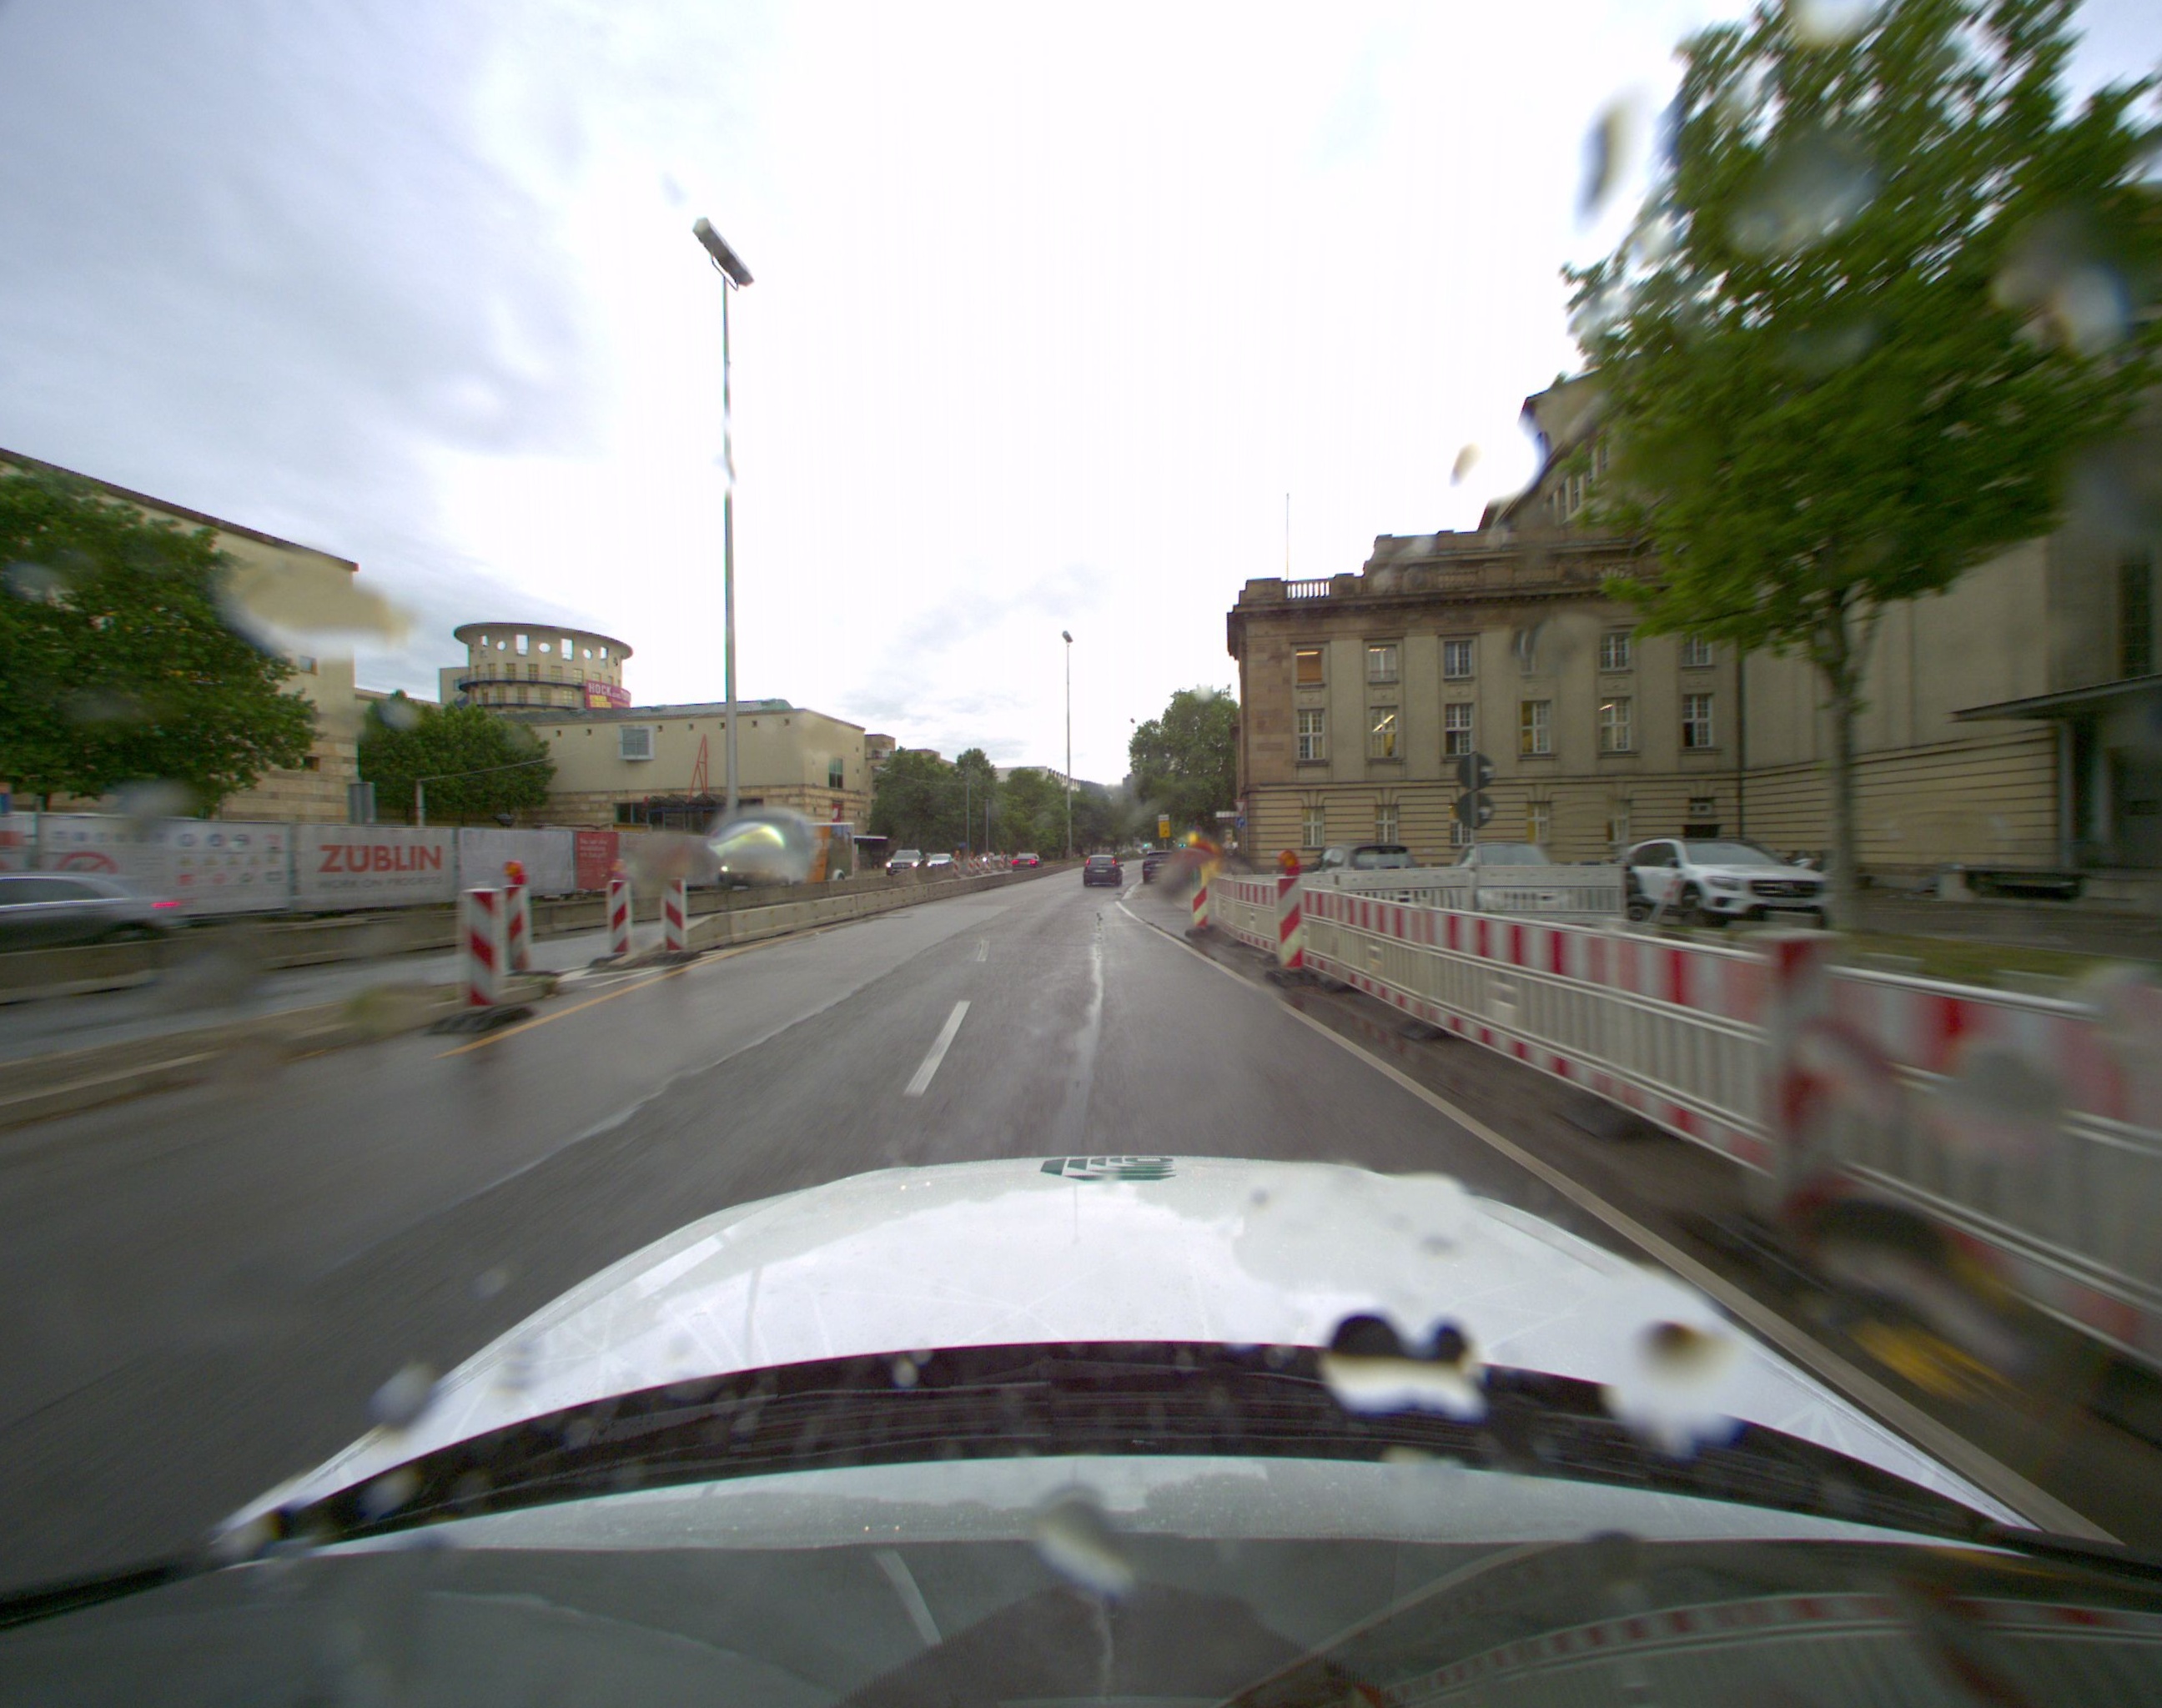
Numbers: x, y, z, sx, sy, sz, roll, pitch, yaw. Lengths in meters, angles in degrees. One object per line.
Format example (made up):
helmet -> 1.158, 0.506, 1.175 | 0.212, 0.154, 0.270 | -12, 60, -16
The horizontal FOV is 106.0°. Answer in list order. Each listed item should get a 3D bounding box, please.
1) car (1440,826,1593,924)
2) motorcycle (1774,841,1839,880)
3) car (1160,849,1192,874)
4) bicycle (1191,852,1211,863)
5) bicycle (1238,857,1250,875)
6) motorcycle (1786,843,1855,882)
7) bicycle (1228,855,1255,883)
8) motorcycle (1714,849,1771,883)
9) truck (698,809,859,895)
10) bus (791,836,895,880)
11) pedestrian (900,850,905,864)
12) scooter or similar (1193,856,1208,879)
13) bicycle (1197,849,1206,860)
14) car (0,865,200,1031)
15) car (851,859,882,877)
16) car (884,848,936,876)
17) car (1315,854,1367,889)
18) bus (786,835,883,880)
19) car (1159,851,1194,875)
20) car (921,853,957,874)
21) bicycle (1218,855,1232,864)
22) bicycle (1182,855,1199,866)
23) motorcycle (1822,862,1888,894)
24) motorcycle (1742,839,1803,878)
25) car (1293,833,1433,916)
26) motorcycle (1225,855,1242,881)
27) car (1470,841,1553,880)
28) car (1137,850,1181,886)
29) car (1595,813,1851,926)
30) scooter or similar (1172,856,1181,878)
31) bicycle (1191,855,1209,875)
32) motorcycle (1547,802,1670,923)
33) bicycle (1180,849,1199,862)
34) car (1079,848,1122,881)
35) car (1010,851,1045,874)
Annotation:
car -> 7.662, 0.363, 14.619 | 1.571, 1.537, 3.030 | -2, -1, 11
motorcycle -> 27.278, 0.229, 30.627 | 1.649, 1.406, 0.738 | -2, -1, 13
car -> 7.031, 0.534, 59.780 | 1.980, 1.781, 4.201 | 0, 0, 11
bicycle -> 12.140, 0.371, 82.128 | 1.975, 1.060, 0.761 | 0, 0, 6
bicycle -> 9.697, 0.690, 48.401 | 0.415, 1.050, 1.781 | 0, -1, 22
motorcycle -> 26.768, 0.320, 29.502 | 1.649, 1.367, 0.738 | -2, -1, 13
bicycle -> 7.670, 0.714, 39.084 | 1.096, 1.317, 1.861 | 0, 0, 5
motorcycle -> 27.336, 0.500, 33.694 | 1.649, 1.338, 0.738 | -2, -1, 13
truck -> -10.572, -0.083, 29.420 | 2.385, 2.719, 7.368 | -1, 0, 6
bus -> -22.702, 0.306, 79.199 | 2.785, 3.811, 14.649 | 1, 0, 13
pedestrian -> -26.271, 0.467, 119.908 | 0.475, 2.014, 0.513 | -2, -1, 10
scooter or similar -> 6.741, 0.741, 46.000 | 0.434, 1.293, 1.252 | 0, -1, -14
bicycle -> 13.465, 0.114, 90.997 | 0.600, 1.197, 1.913 | -2, -1, 17
car -> -14.126, 1.173, 9.654 | 1.898, 2.014, 4.767 | -2, -1, 7
car -> -19.096, 1.201, 72.611 | 1.583, 1.500, 3.220 | -2, 0, 7
car -> -10.002, 0.427, 48.009 | 1.913, 1.530, 4.763 | -1, 0, 2
car -> 11.180, 0.733, 35.224 | 1.512, 1.410, 4.137 | -1, -1, 9
bus -> -24.799, 0.293, 83.251 | 3.097, 4.252, 13.541 | 1, 0, 13
car -> 5.963, 0.553, 50.472 | 1.746, 1.414, 3.164 | -1, -1, 14
car -> -11.076, 0.701, 63.623 | 1.986, 1.530, 4.002 | -1, 0, 2
bicycle -> 17.917, 0.706, 101.484 | 1.629, 1.020, 0.577 | 2, 0, 14
bicycle -> 11.209, 0.646, 83.569 | 1.668, 1.090, 0.652 | 0, 0, 11
motorcycle -> 26.929, 0.837, 28.352 | 1.649, 1.069, 0.482 | -2, -1, 13
motorcycle -> 27.149, 0.167, 32.013 | 1.649, 1.473, 0.738 | -2, -1, 13
car -> 5.558, 0.402, 16.484 | 1.680, 1.494, 3.622 | 0, -1, 2
motorcycle -> 7.834, 0.719, 41.797 | 0.801, 1.298, 1.805 | 0, -1, 13
car -> 18.286, 0.239, 34.789 | 1.807, 1.539, 4.521 | -2, 0, 10
car -> 3.881, 0.633, 39.767 | 1.860, 1.619, 4.415 | -2, 0, 9
car -> 11.169, 0.251, 14.647 | 1.940, 1.684, 4.510 | -2, -1, 15
scooter or similar -> 5.259, 0.712, 44.897 | 0.431, 1.216, 1.124 | -3, -1, 7
bicycle -> 7.614, 0.686, 52.314 | 0.773, 1.218, 1.964 | -2, 0, -2
motorcycle -> 9.124, 0.140, 14.239 | 0.744, 1.904, 2.596 | -2, -1, 8
bicycle -> 11.221, 0.194, 84.148 | 1.894, 1.332, 0.652 | 0, 0, 11
car -> 0.860, 0.507, 38.321 | 1.839, 1.416, 3.836 | -2, -1, -1
car -> -3.748, 0.612, 57.590 | 1.746, 1.451, 4.006 | -3, -1, 5
